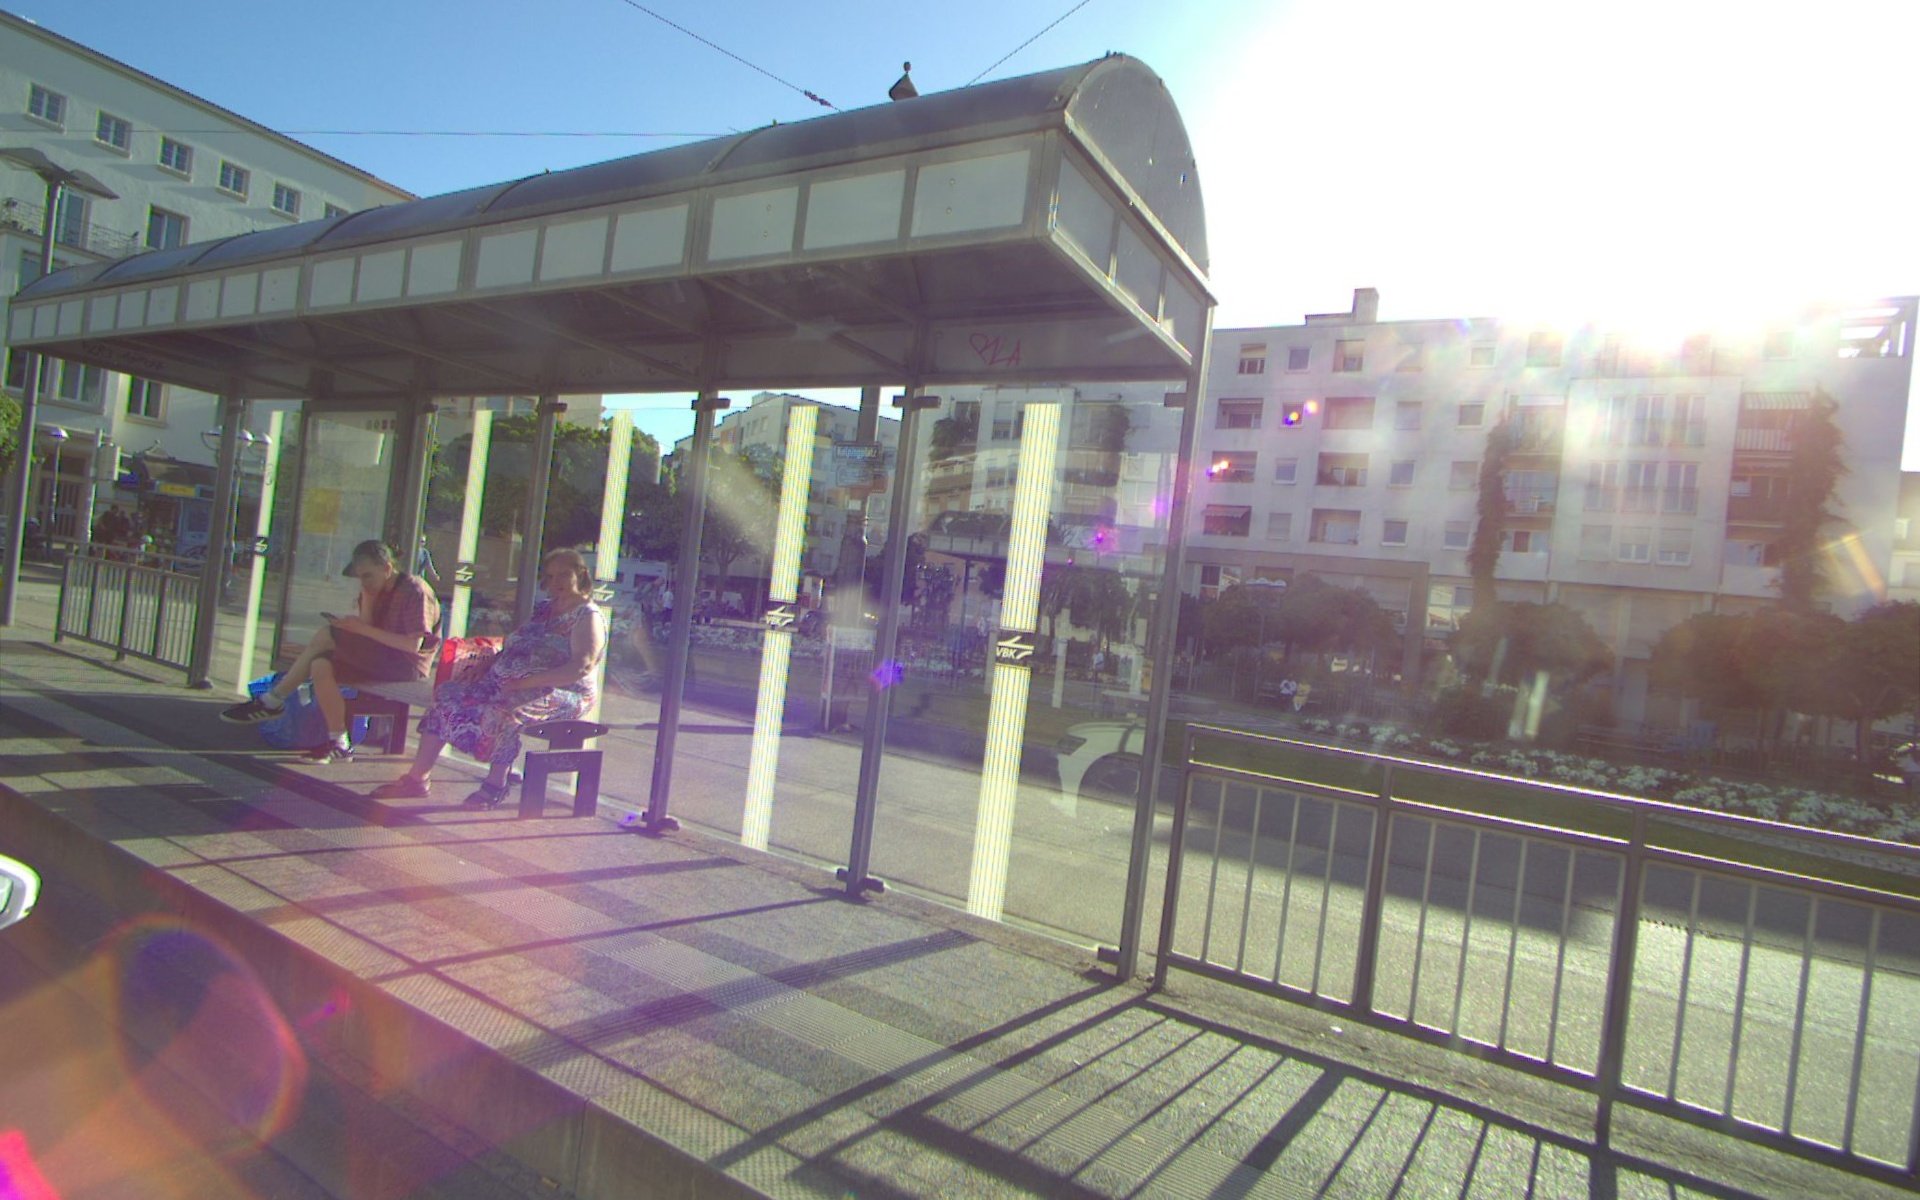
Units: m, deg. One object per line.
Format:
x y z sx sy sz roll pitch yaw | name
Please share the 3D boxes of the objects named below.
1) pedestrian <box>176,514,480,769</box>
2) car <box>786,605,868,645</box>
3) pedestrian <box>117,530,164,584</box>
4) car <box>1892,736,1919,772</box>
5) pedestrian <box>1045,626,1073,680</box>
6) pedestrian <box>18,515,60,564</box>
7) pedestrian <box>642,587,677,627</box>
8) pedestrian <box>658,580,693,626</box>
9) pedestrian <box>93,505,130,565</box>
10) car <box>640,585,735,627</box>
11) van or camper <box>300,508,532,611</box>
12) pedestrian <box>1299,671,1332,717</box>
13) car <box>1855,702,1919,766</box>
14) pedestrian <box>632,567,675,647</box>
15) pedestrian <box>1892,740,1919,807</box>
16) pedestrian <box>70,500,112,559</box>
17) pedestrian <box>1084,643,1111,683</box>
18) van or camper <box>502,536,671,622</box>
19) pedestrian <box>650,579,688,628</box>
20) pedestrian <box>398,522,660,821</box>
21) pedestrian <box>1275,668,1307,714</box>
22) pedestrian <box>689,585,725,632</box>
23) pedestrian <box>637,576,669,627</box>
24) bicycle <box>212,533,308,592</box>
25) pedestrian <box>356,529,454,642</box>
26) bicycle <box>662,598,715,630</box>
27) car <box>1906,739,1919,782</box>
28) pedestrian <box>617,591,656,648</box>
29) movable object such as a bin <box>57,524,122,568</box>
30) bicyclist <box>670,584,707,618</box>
-3.515 0.249 5.646 0.908 1.238 1.001 6 -4 32 | pedestrian
-6.209 1.216 47.511 1.964 1.503 4.000 6 -1 23 | car
-24.290 -1.267 29.815 0.742 1.427 0.731 10 1 32 | pedestrian
40.325 6.457 40.426 3.941 1.303 1.993 6 -1 38 | car
3.397 1.814 34.372 0.661 1.745 1.028 7 0 11 | pedestrian
-27.398 -1.796 29.922 0.736 1.332 0.622 7 0 -35 | pedestrian
-10.692 0.266 35.793 0.595 1.295 0.902 6 0 34 | pedestrian
-10.672 0.133 37.800 0.651 1.605 0.902 6 0 35 | pedestrian
-28.097 -2.140 33.302 0.649 1.861 0.653 6 0 35 | pedestrian
-13.359 0.299 49.482 1.974 1.529 3.981 5 -3 43 | car
-19.929 -1.388 37.351 2.331 2.780 7.131 8 0 32 | van or camper
10.873 2.875 30.783 0.718 1.287 0.745 7 0 11 | pedestrian
44.595 6.318 44.830 6.285 2.586 2.812 6 -1 27 | car
-7.019 0.159 23.041 0.520 1.765 0.557 6 -1 42 | pedestrian
22.318 4.042 23.303 0.923 1.428 1.520 6 -1 42 | pedestrian
-29.100 -2.354 33.682 0.668 1.861 0.785 6 0 35 | pedestrian
4.723 2.155 34.483 0.718 1.287 1.042 7 0 11 | pedestrian
-15.975 -0.814 43.475 2.340 2.873 6.410 7 -1 35 | van or camper
-10.167 0.133 35.173 0.651 1.605 0.902 7 0 35 | pedestrian
-2.166 0.369 5.126 0.613 1.348 0.861 6 -4 31 | pedestrian
10.159 2.797 30.922 0.718 1.287 0.745 7 0 11 | pedestrian
-9.274 0.302 36.907 0.651 1.605 0.902 7 0 35 | pedestrian
-11.090 0.044 36.302 0.689 1.705 0.896 7 0 -35 | pedestrian
-23.008 -1.213 33.124 0.714 1.548 2.391 7 -3 31 | bicycle
-10.089 -0.259 18.303 1.110 1.900 0.983 5 -1 29 | pedestrian
-11.271 0.595 41.834 0.708 1.073 2.324 7 -3 24 | bicycle
37.115 6.131 36.377 3.941 1.535 1.993 6 -1 38 | car
-7.173 0.435 22.294 0.550 1.182 0.469 5 -2 40 | pedestrian
-27.630 -1.716 31.933 1.197 1.167 1.200 6 -1 32 | movable object such as a bin
-11.257 0.036 41.723 0.936 1.239 0.934 7 -2 22 | bicyclist
